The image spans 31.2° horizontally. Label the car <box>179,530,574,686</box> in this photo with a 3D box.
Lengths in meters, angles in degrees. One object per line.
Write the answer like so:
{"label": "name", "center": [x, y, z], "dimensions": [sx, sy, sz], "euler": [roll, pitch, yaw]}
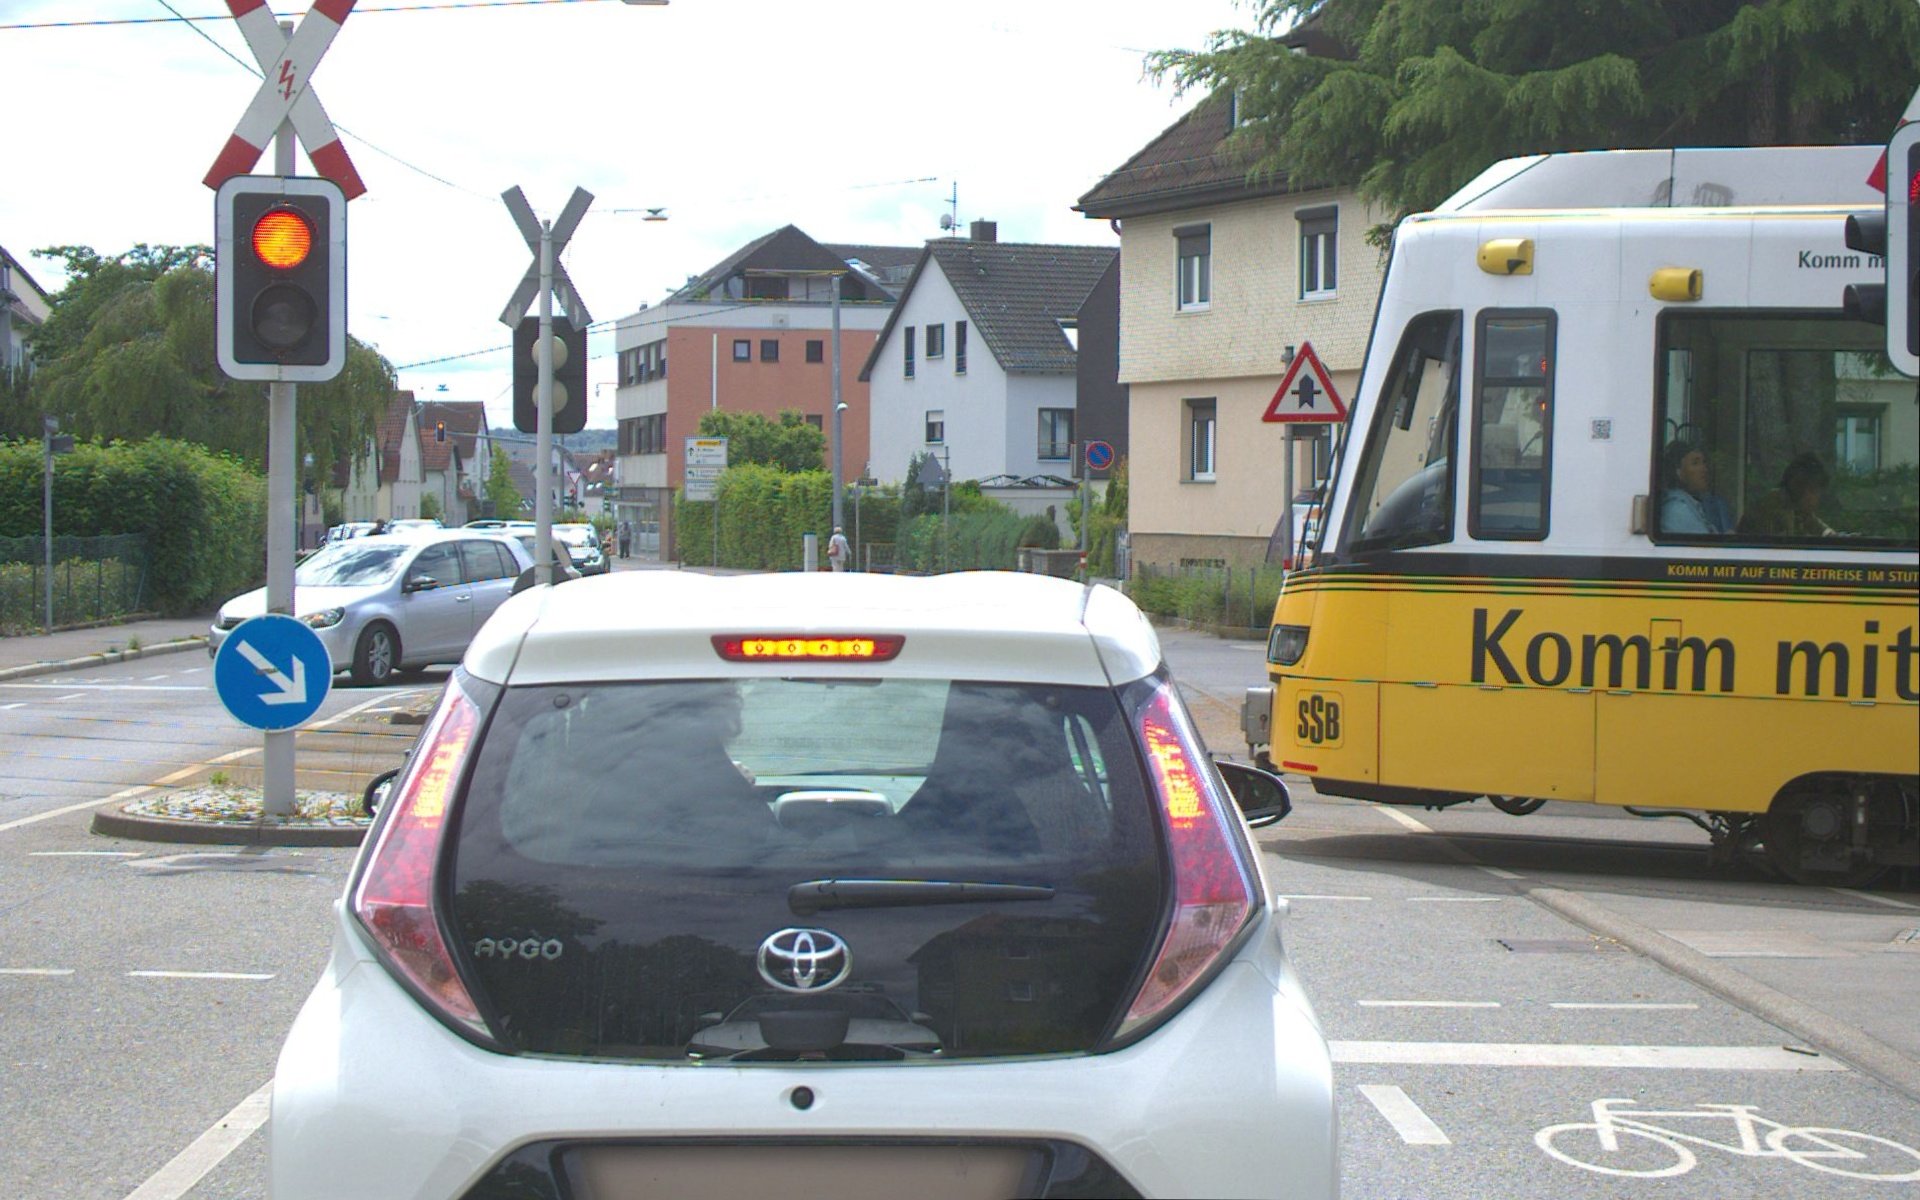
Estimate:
{"label": "car", "center": [-5.773, 0.032, 34.478], "dimensions": [1.691, 1.453, 4.062], "euler": [1, 1, 30]}

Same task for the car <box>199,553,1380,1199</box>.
{"label": "car", "center": [-0.258, 0.663, 6.739], "dimensions": [1.621, 1.481, 4.000], "euler": [0, 1, -1]}

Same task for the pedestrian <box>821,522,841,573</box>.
{"label": "pedestrian", "center": [-3.708, -1.512, 98.663], "dimensions": [0.413, 1.433, 0.437], "euler": [2, 1, 18]}

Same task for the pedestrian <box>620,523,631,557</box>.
{"label": "pedestrian", "center": [-14.202, -2.555, 146.010], "dimensions": [0.413, 1.433, 0.438], "euler": [1, 1, -11]}

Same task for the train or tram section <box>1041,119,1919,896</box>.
{"label": "train or tram section", "center": [4.585, -0.472, 17.972], "dimensions": [7.700, 3.709, 2.866], "euler": [2, 1, 23]}

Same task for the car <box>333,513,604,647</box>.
{"label": "car", "center": [-5.784, -0.222, 40.590], "dimensions": [1.579, 1.505, 2.781], "euler": [2, 1, 42]}
